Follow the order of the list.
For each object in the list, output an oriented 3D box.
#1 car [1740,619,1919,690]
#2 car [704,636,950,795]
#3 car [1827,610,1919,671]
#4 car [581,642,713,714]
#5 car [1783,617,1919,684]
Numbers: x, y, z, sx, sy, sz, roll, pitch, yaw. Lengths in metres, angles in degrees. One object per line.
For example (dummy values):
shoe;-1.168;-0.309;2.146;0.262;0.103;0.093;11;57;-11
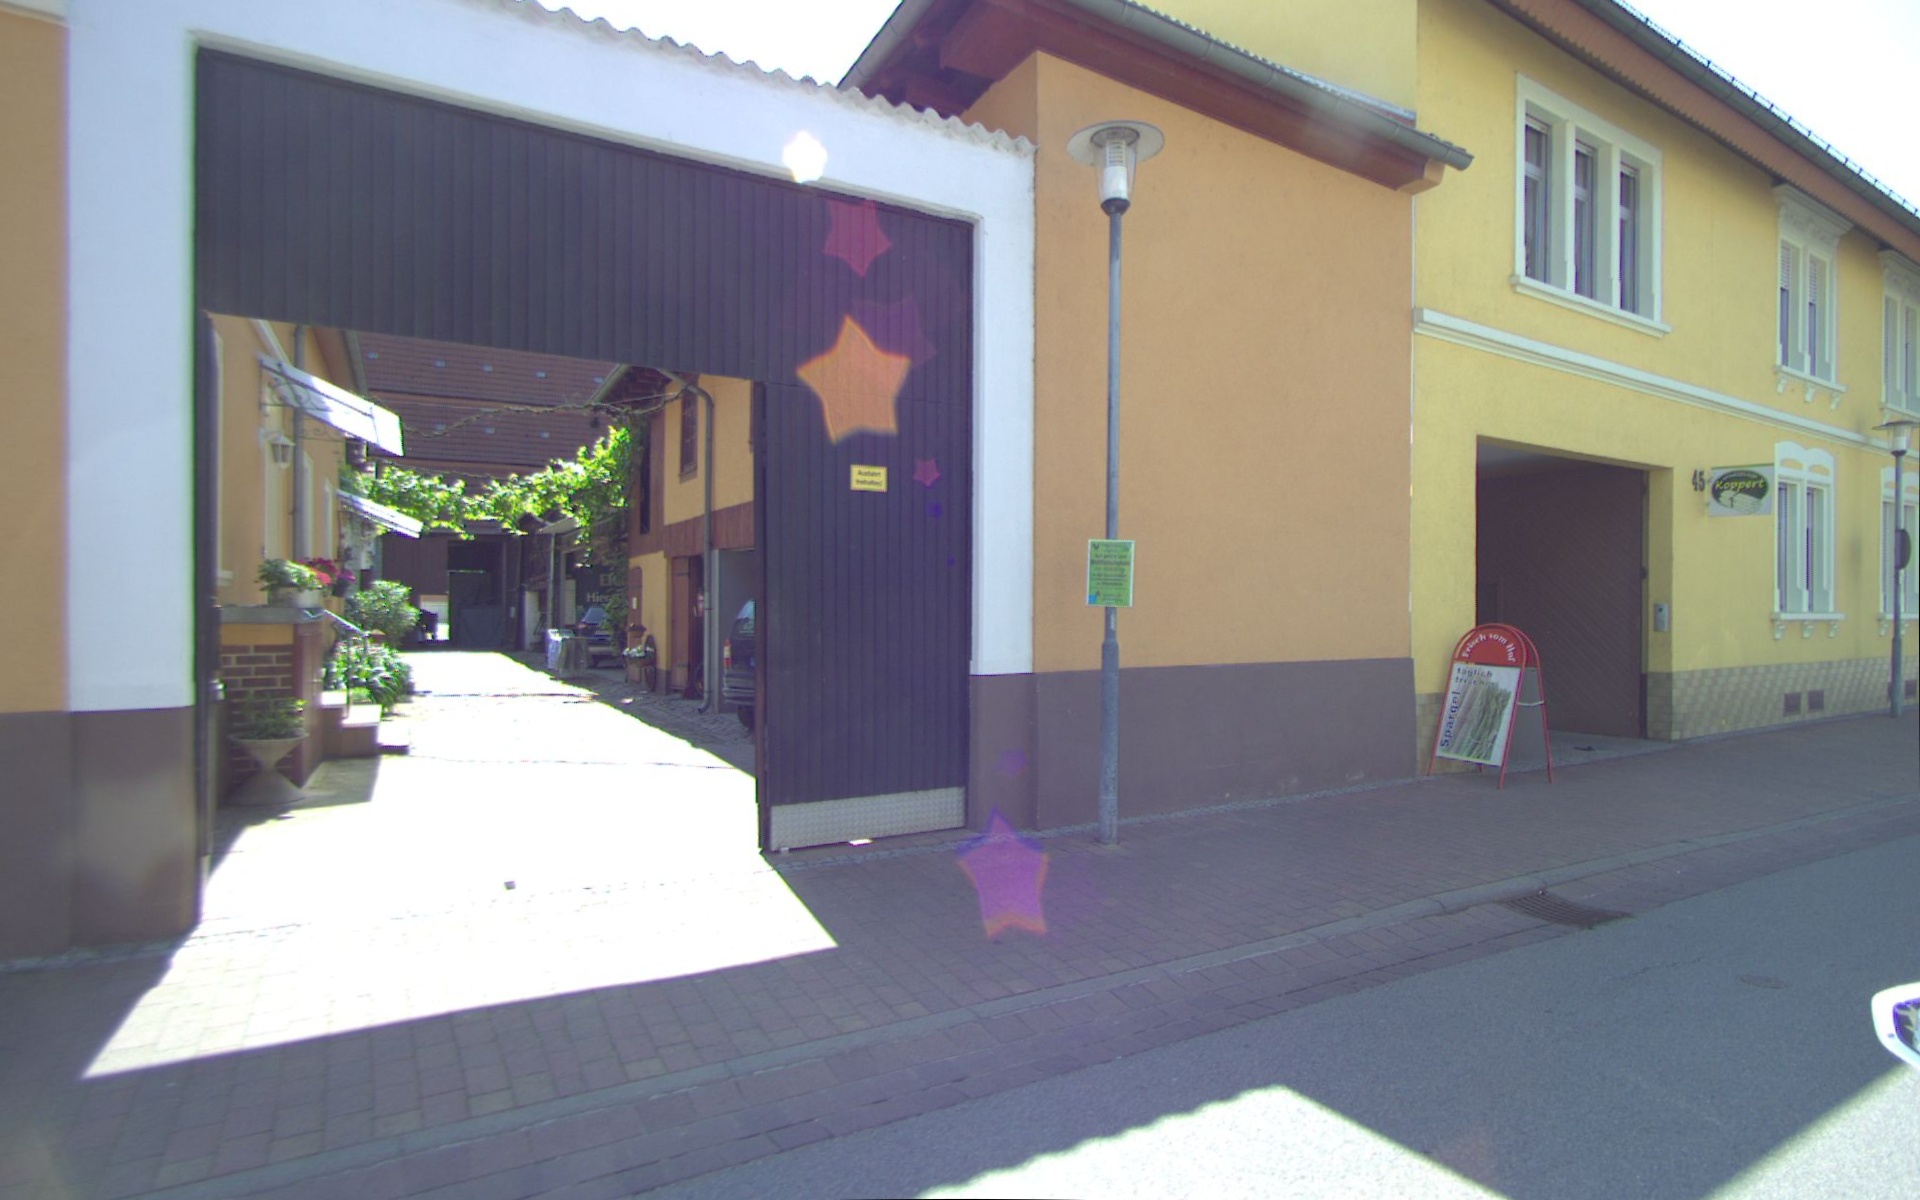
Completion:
car;20.248;1.184;22.520;1.952;1.450;3.962;-1;-1;-34
car;-1.554;1.354;13.020;1.734;1.683;3.527;-1;-1;20
car;26.370;1.117;26.847;1.912;1.575;4.482;1;0;-30
car;-8.165;2.004;26.513;1.733;1.683;3.529;-1;-1;14
car;22.339;1.170;23.842;1.787;1.470;3.966;-1;-1;-32
